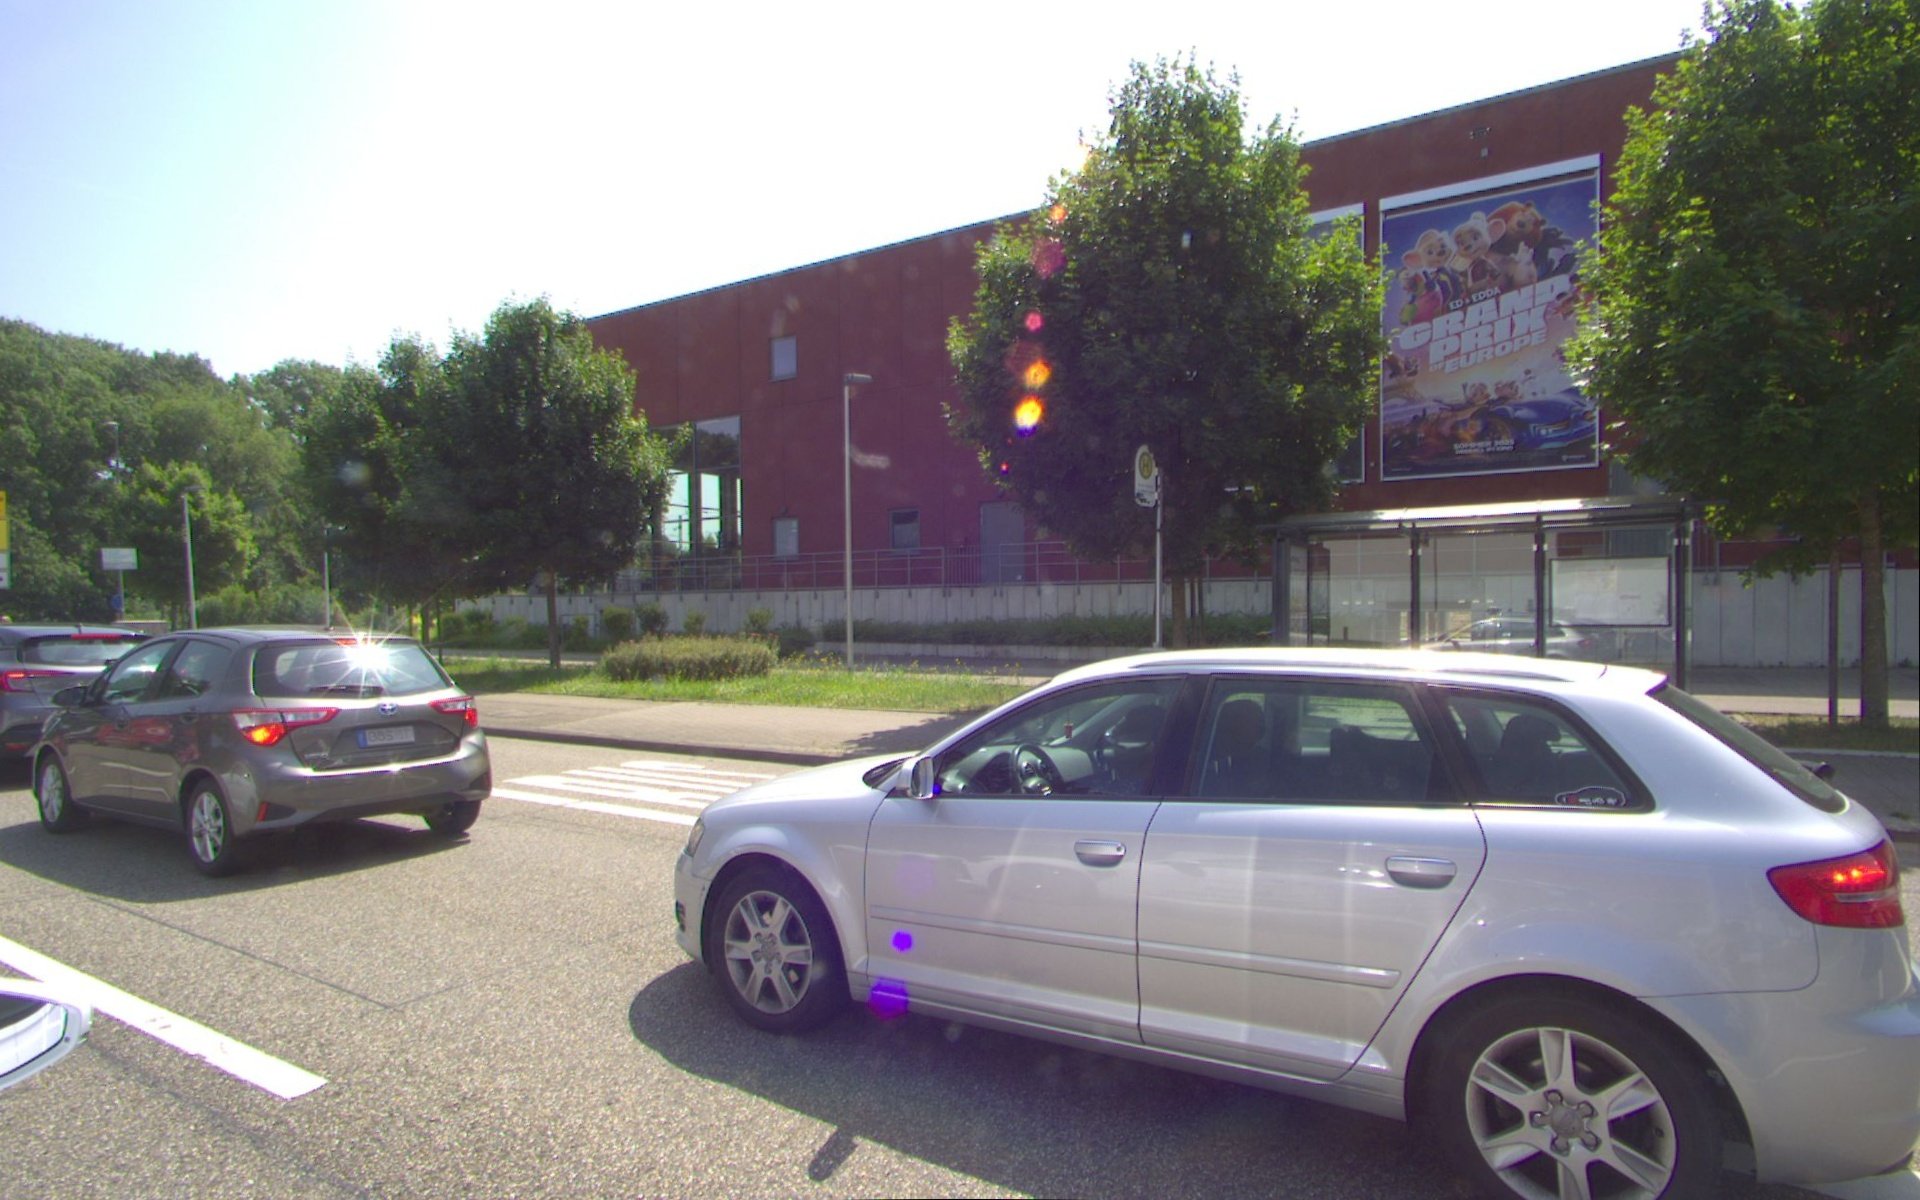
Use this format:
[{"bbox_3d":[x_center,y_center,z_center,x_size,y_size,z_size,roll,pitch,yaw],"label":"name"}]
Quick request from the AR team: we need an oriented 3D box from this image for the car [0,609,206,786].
[{"bbox_3d":[-10.111,0.931,10.853,4.031,1.614,1.709,-1,-1,31],"label":"car"}]

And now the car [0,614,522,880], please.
[{"bbox_3d":[-5.307,0.903,7.432,4.031,1.496,1.711,-1,-4,31],"label":"car"}]

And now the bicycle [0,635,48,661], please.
[{"bbox_3d":[-30.929,1.564,32.572,1.793,0.776,0.600,-1,1,-13],"label":"bicycle"}]

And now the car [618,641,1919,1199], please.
[{"bbox_3d":[0.793,0.860,3.727,4.031,1.379,1.710,-1,-2,31],"label":"car"}]

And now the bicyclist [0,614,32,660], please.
[{"bbox_3d":[-30.879,1.198,32.573,0.814,1.458,0.598,-1,1,-13],"label":"bicyclist"}]
